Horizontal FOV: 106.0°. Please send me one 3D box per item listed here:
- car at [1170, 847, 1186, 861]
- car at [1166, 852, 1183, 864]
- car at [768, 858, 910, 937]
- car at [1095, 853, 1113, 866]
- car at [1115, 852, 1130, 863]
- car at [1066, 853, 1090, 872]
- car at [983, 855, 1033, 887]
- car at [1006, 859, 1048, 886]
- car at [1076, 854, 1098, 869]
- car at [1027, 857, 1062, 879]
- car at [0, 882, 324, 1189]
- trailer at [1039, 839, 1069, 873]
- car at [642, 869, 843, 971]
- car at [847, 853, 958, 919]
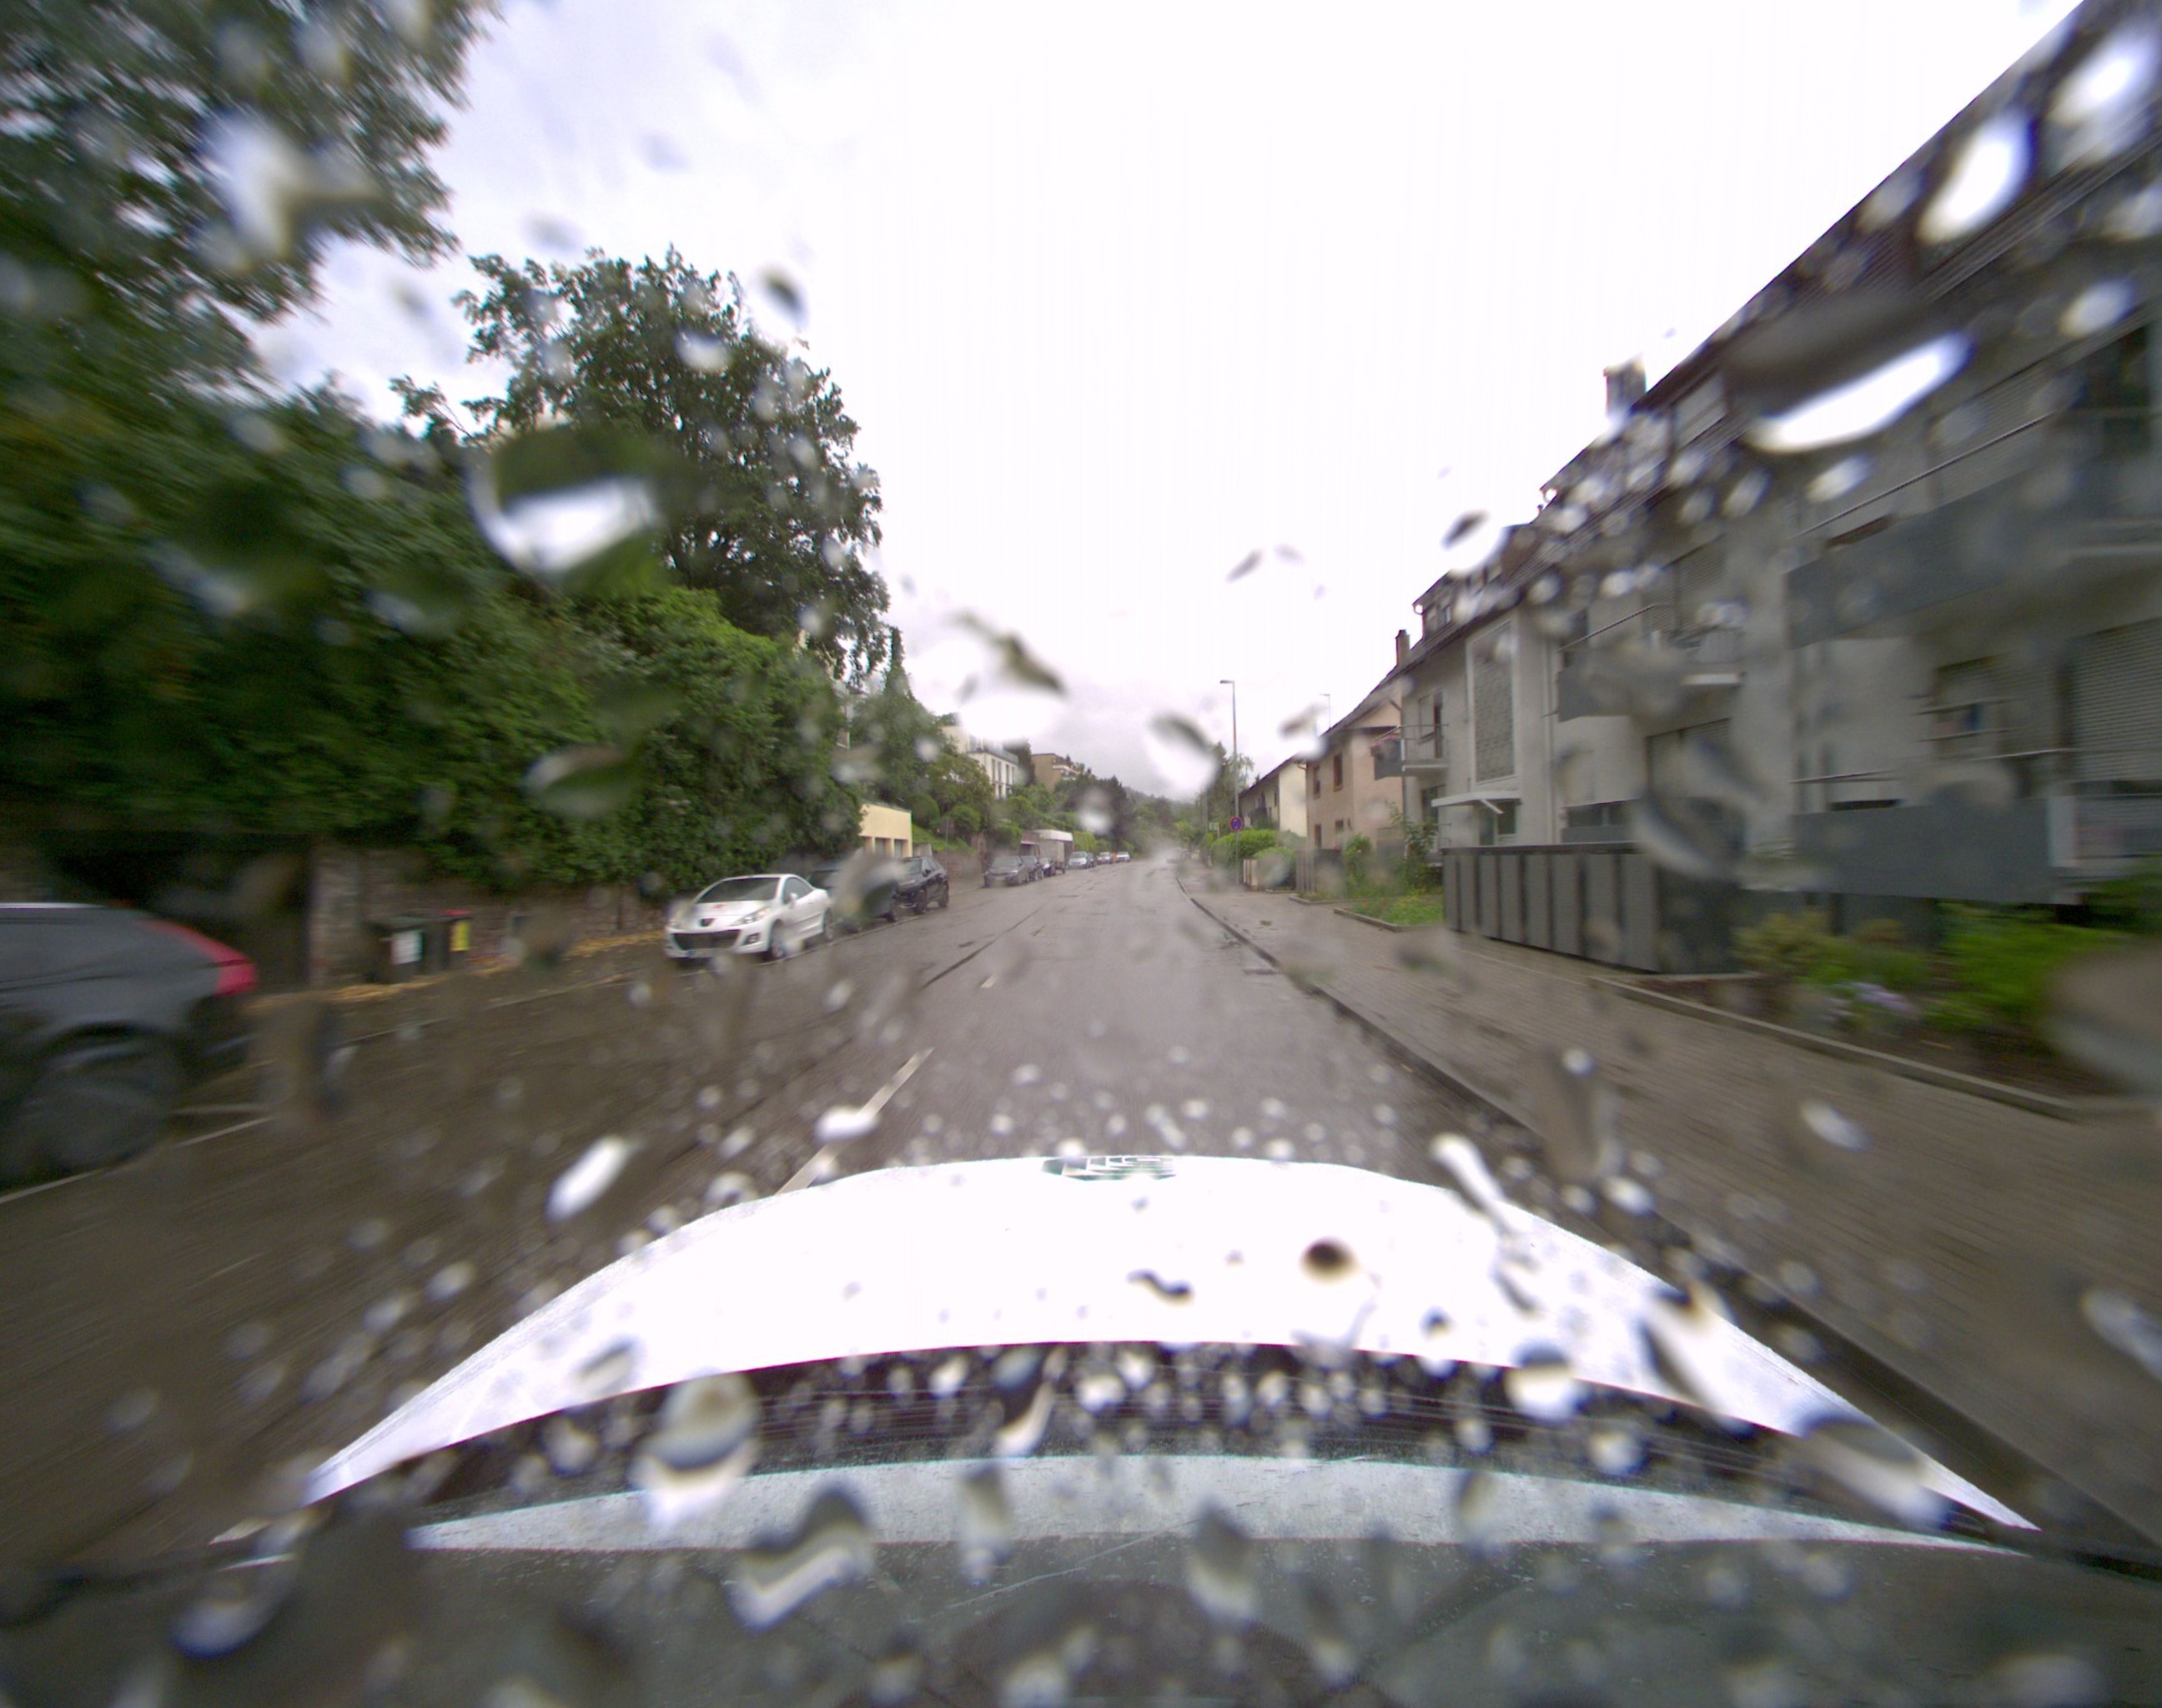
[{"bbox_3d":[12.267,0.017,102.485,1.773,1.790,4.373,0,-1,10],"label":"car"},{"bbox_3d":[11.169,0.503,96.935,1.778,1.460,4.320,0,0,10],"label":"car"},{"bbox_3d":[-5.539,0.935,19.228,1.733,1.561,4.114,-3,0,5],"label":"car"},{"bbox_3d":[2.780,0.661,97.475,1.746,1.402,3.777,-3,-1,7],"label":"car"},{"bbox_3d":[5.947,0.566,116.453,1.746,1.498,4.229,-2,-1,7],"label":"car"},{"bbox_3d":[-0.233,0.757,74.901,1.747,1.539,3.763,-4,0,6],"label":"car"},{"bbox_3d":[-3.739,0.861,42.392,1.778,1.455,4.760,-3,0,4],"label":"car"},{"bbox_3d":[-3.151,1.050,48.059,1.777,1.415,4.223,-2,0,5],"label":"car"},{"bbox_3d":[0.628,0.722,80.449,1.747,1.409,3.711,-4,0,6],"label":"car"},{"bbox_3d":[-2.415,0.935,54.650,1.799,1.349,3.781,-2,0,5],"label":"car"},{"bbox_3d":[-6.393,0.966,3.326,1.900,1.480,4.760,-3,-1,4],"label":"car"},{"bbox_3d":[-1.980,0.136,60.502,1.528,2.399,3.080,-3,0,9],"label":"trailer"},{"bbox_3d":[-5.743,1.034,14.414,1.710,1.365,4.084,-3,0,1],"label":"car"},{"bbox_3d":[-5.156,0.858,24.213,1.866,1.626,4.598,-4,0,4],"label":"car"}]
